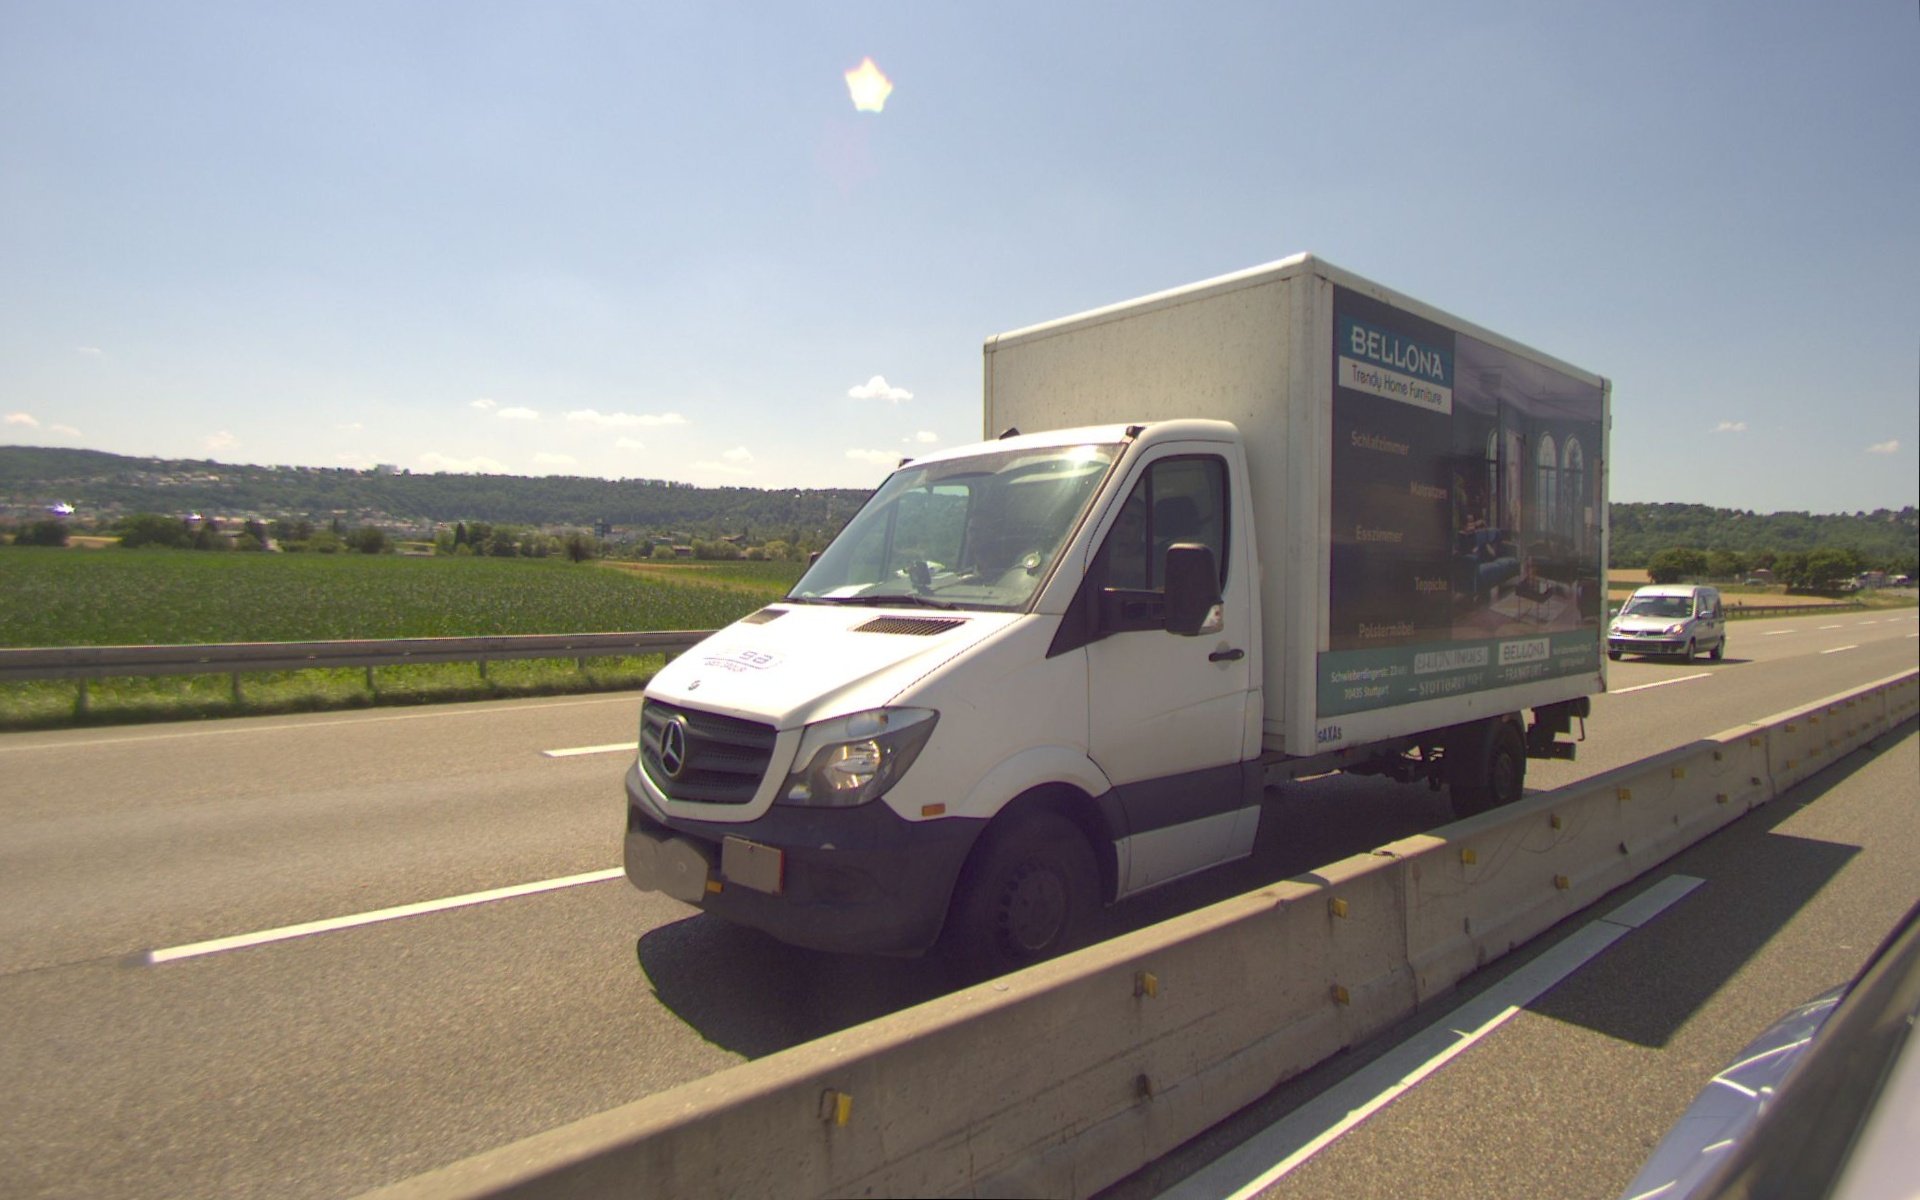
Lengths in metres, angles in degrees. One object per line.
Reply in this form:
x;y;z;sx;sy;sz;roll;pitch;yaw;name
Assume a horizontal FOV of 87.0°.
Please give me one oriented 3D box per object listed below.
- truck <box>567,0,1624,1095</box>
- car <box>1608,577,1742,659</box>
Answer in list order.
1.470;-0.165;5.917;6.632;3.106;2.325;0;0;-41;truck
16.712;0.389;23.584;3.902;1.759;1.630;0;0;-40;car
